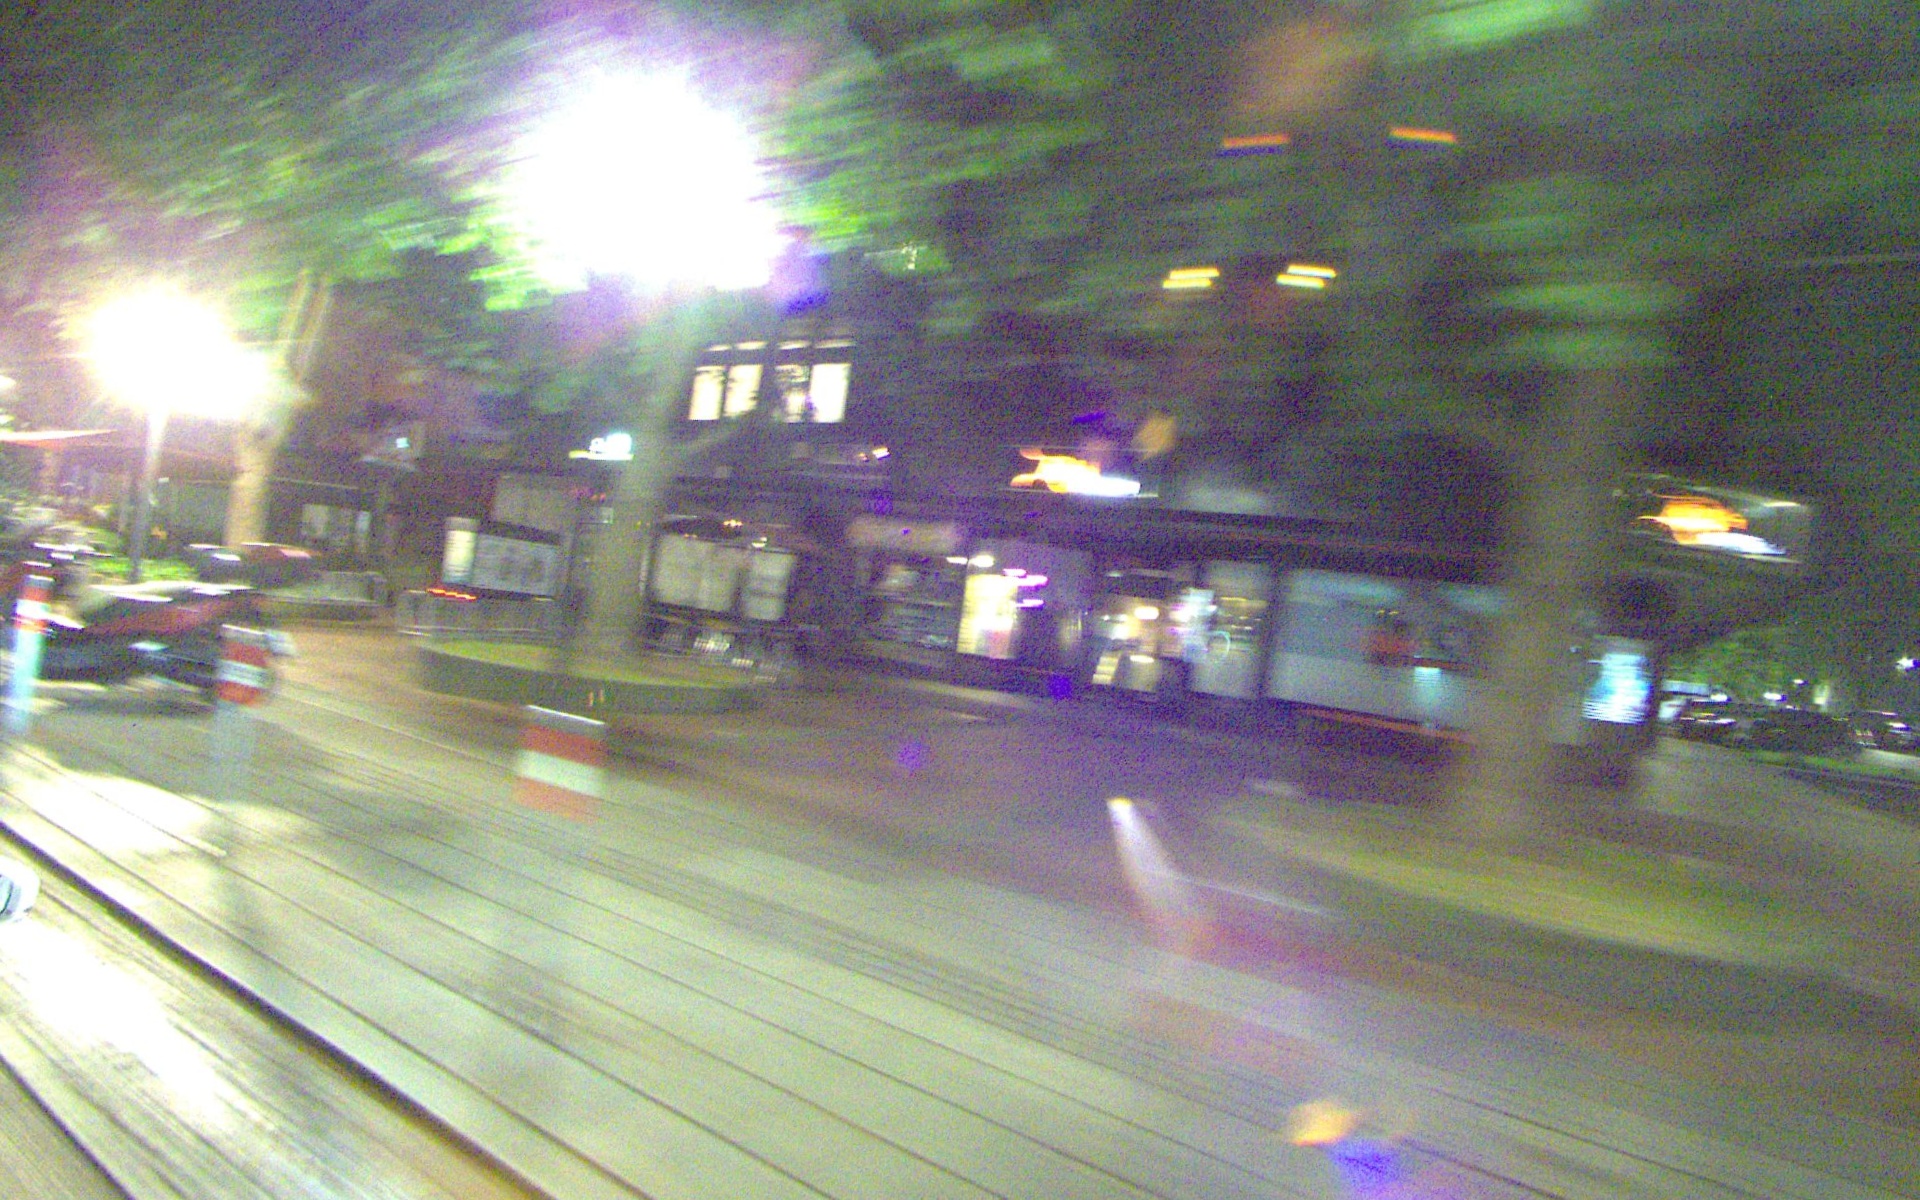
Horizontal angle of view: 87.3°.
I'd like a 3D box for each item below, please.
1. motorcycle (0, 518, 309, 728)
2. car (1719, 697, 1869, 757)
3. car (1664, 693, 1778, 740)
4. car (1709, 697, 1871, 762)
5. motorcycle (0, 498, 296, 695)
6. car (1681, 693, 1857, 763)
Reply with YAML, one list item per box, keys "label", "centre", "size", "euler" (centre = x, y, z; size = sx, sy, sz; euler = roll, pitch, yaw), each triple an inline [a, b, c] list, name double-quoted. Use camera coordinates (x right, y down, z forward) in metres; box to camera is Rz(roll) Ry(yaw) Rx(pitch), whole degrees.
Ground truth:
- label: "motorcycle"
  centre: [-6.127, 0.170, 7.347]
  size: [2.140, 1.313, 0.513]
  euler: [7, 0, -21]
- label: "car"
  centre: [29.583, 4.502, 35.855]
  size: [3.730, 1.496, 1.751]
  euler: [7, -2, 30]
- label: "car"
  centre: [34.081, 5.199, 45.192]
  size: [3.730, 1.496, 1.751]
  euler: [7, -2, 30]
- label: "car"
  centre: [27.261, 4.221, 33.207]
  size: [3.730, 1.496, 1.751]
  euler: [7, -2, 30]
- label: "motorcycle"
  centre: [-6.970, -0.012, 8.410]
  size: [2.249, 1.408, 0.655]
  euler: [7, 0, -34]
- label: "car"
  centre: [25.181, 3.964, 31.499]
  size: [3.932, 1.496, 1.751]
  euler: [7, -2, 30]
